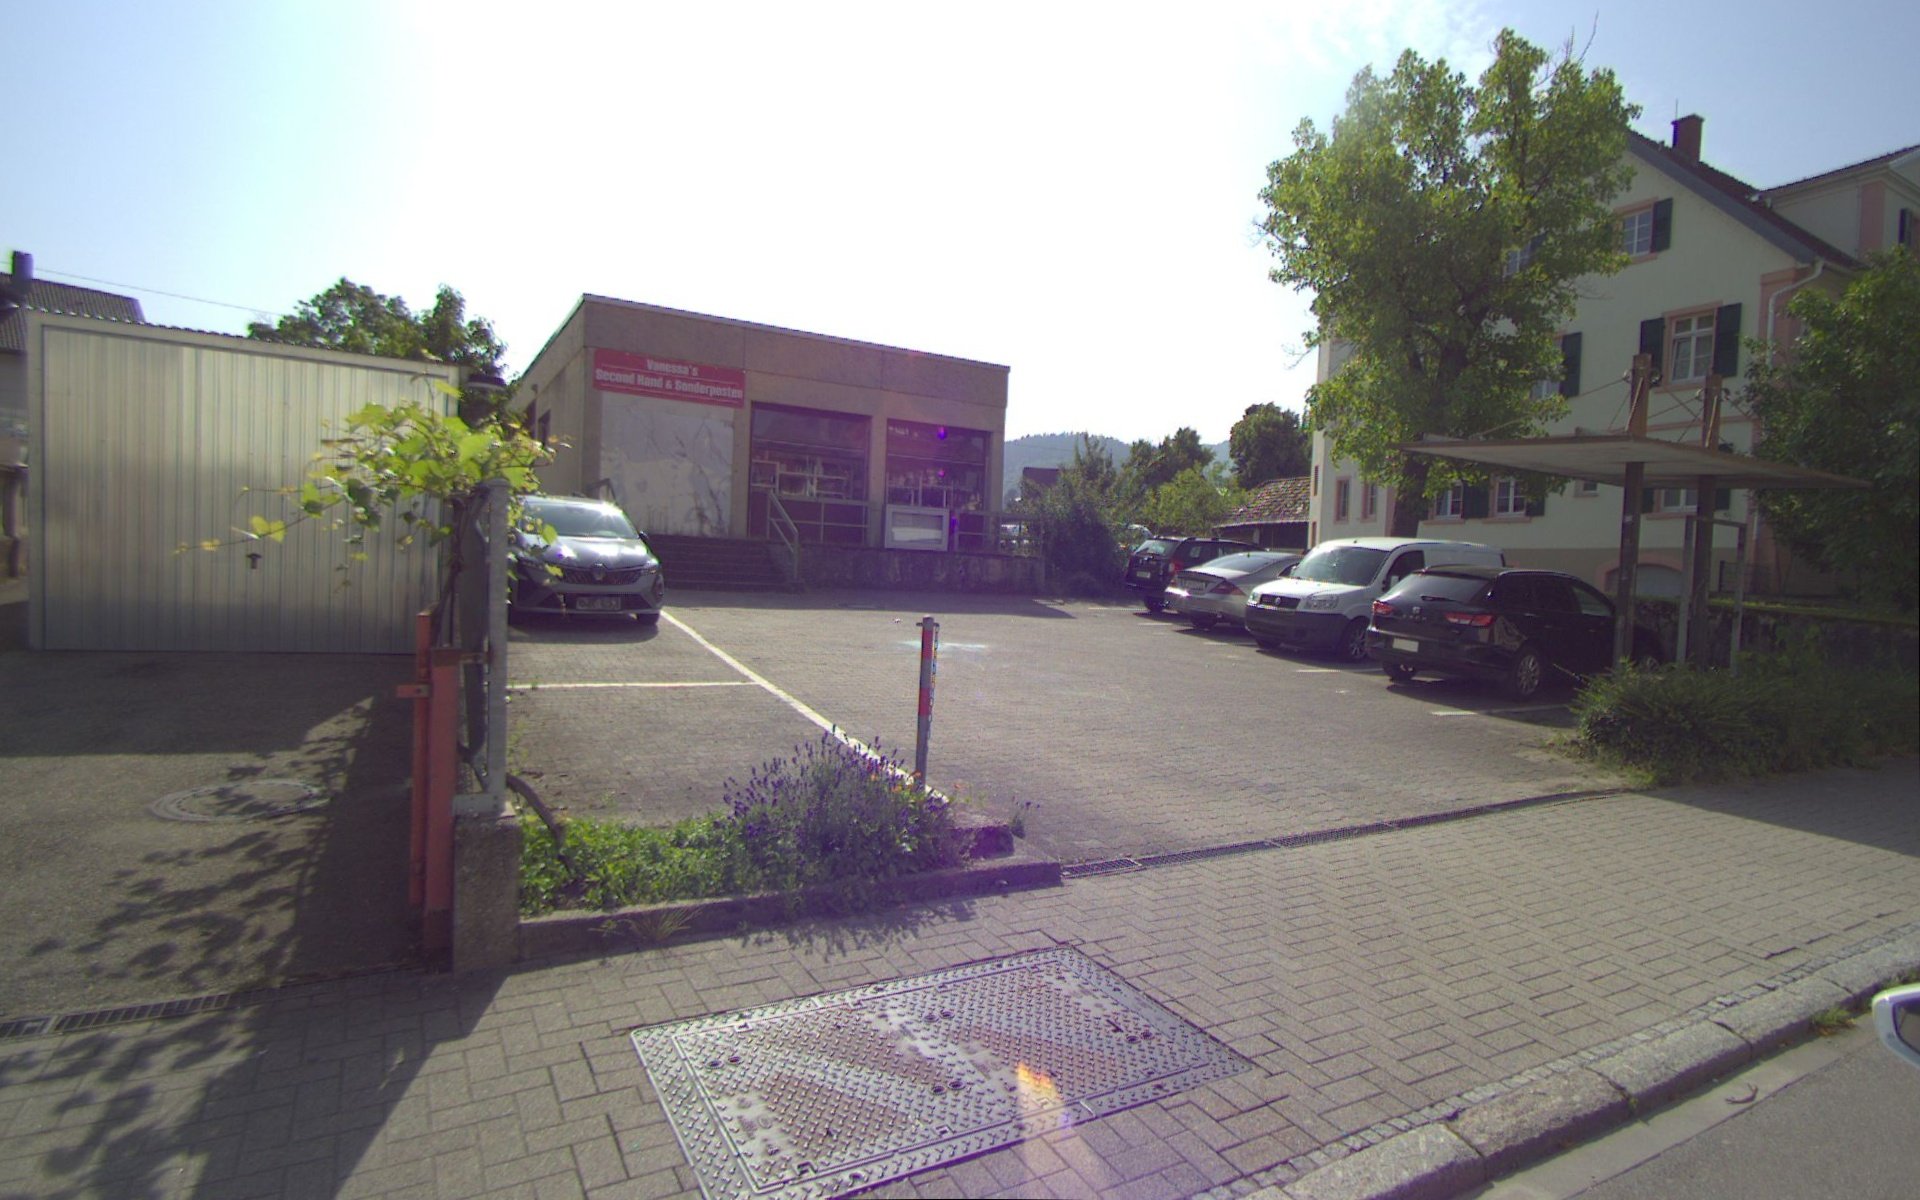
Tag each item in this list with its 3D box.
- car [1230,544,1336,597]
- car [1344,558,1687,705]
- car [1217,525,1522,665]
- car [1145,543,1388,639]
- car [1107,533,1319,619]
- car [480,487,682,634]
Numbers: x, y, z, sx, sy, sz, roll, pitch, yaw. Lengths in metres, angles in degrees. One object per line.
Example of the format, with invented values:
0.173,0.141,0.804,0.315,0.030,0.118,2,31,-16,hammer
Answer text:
11.080,-1.072,34.786,1.781,1.526,3.991,2,4,-10,car
6.850,0.326,12.279,4.342,1.482,1.607,1,4,-31,car
6.284,-0.078,15.250,4.630,1.796,1.812,1,5,-32,car
5.364,-0.165,17.508,3.953,1.442,1.805,1,5,-31,car
5.146,-0.469,20.355,3.952,1.526,1.798,1,5,-30,car
-4.922,-0.578,12.711,1.687,1.435,3.809,2,6,-31,car
